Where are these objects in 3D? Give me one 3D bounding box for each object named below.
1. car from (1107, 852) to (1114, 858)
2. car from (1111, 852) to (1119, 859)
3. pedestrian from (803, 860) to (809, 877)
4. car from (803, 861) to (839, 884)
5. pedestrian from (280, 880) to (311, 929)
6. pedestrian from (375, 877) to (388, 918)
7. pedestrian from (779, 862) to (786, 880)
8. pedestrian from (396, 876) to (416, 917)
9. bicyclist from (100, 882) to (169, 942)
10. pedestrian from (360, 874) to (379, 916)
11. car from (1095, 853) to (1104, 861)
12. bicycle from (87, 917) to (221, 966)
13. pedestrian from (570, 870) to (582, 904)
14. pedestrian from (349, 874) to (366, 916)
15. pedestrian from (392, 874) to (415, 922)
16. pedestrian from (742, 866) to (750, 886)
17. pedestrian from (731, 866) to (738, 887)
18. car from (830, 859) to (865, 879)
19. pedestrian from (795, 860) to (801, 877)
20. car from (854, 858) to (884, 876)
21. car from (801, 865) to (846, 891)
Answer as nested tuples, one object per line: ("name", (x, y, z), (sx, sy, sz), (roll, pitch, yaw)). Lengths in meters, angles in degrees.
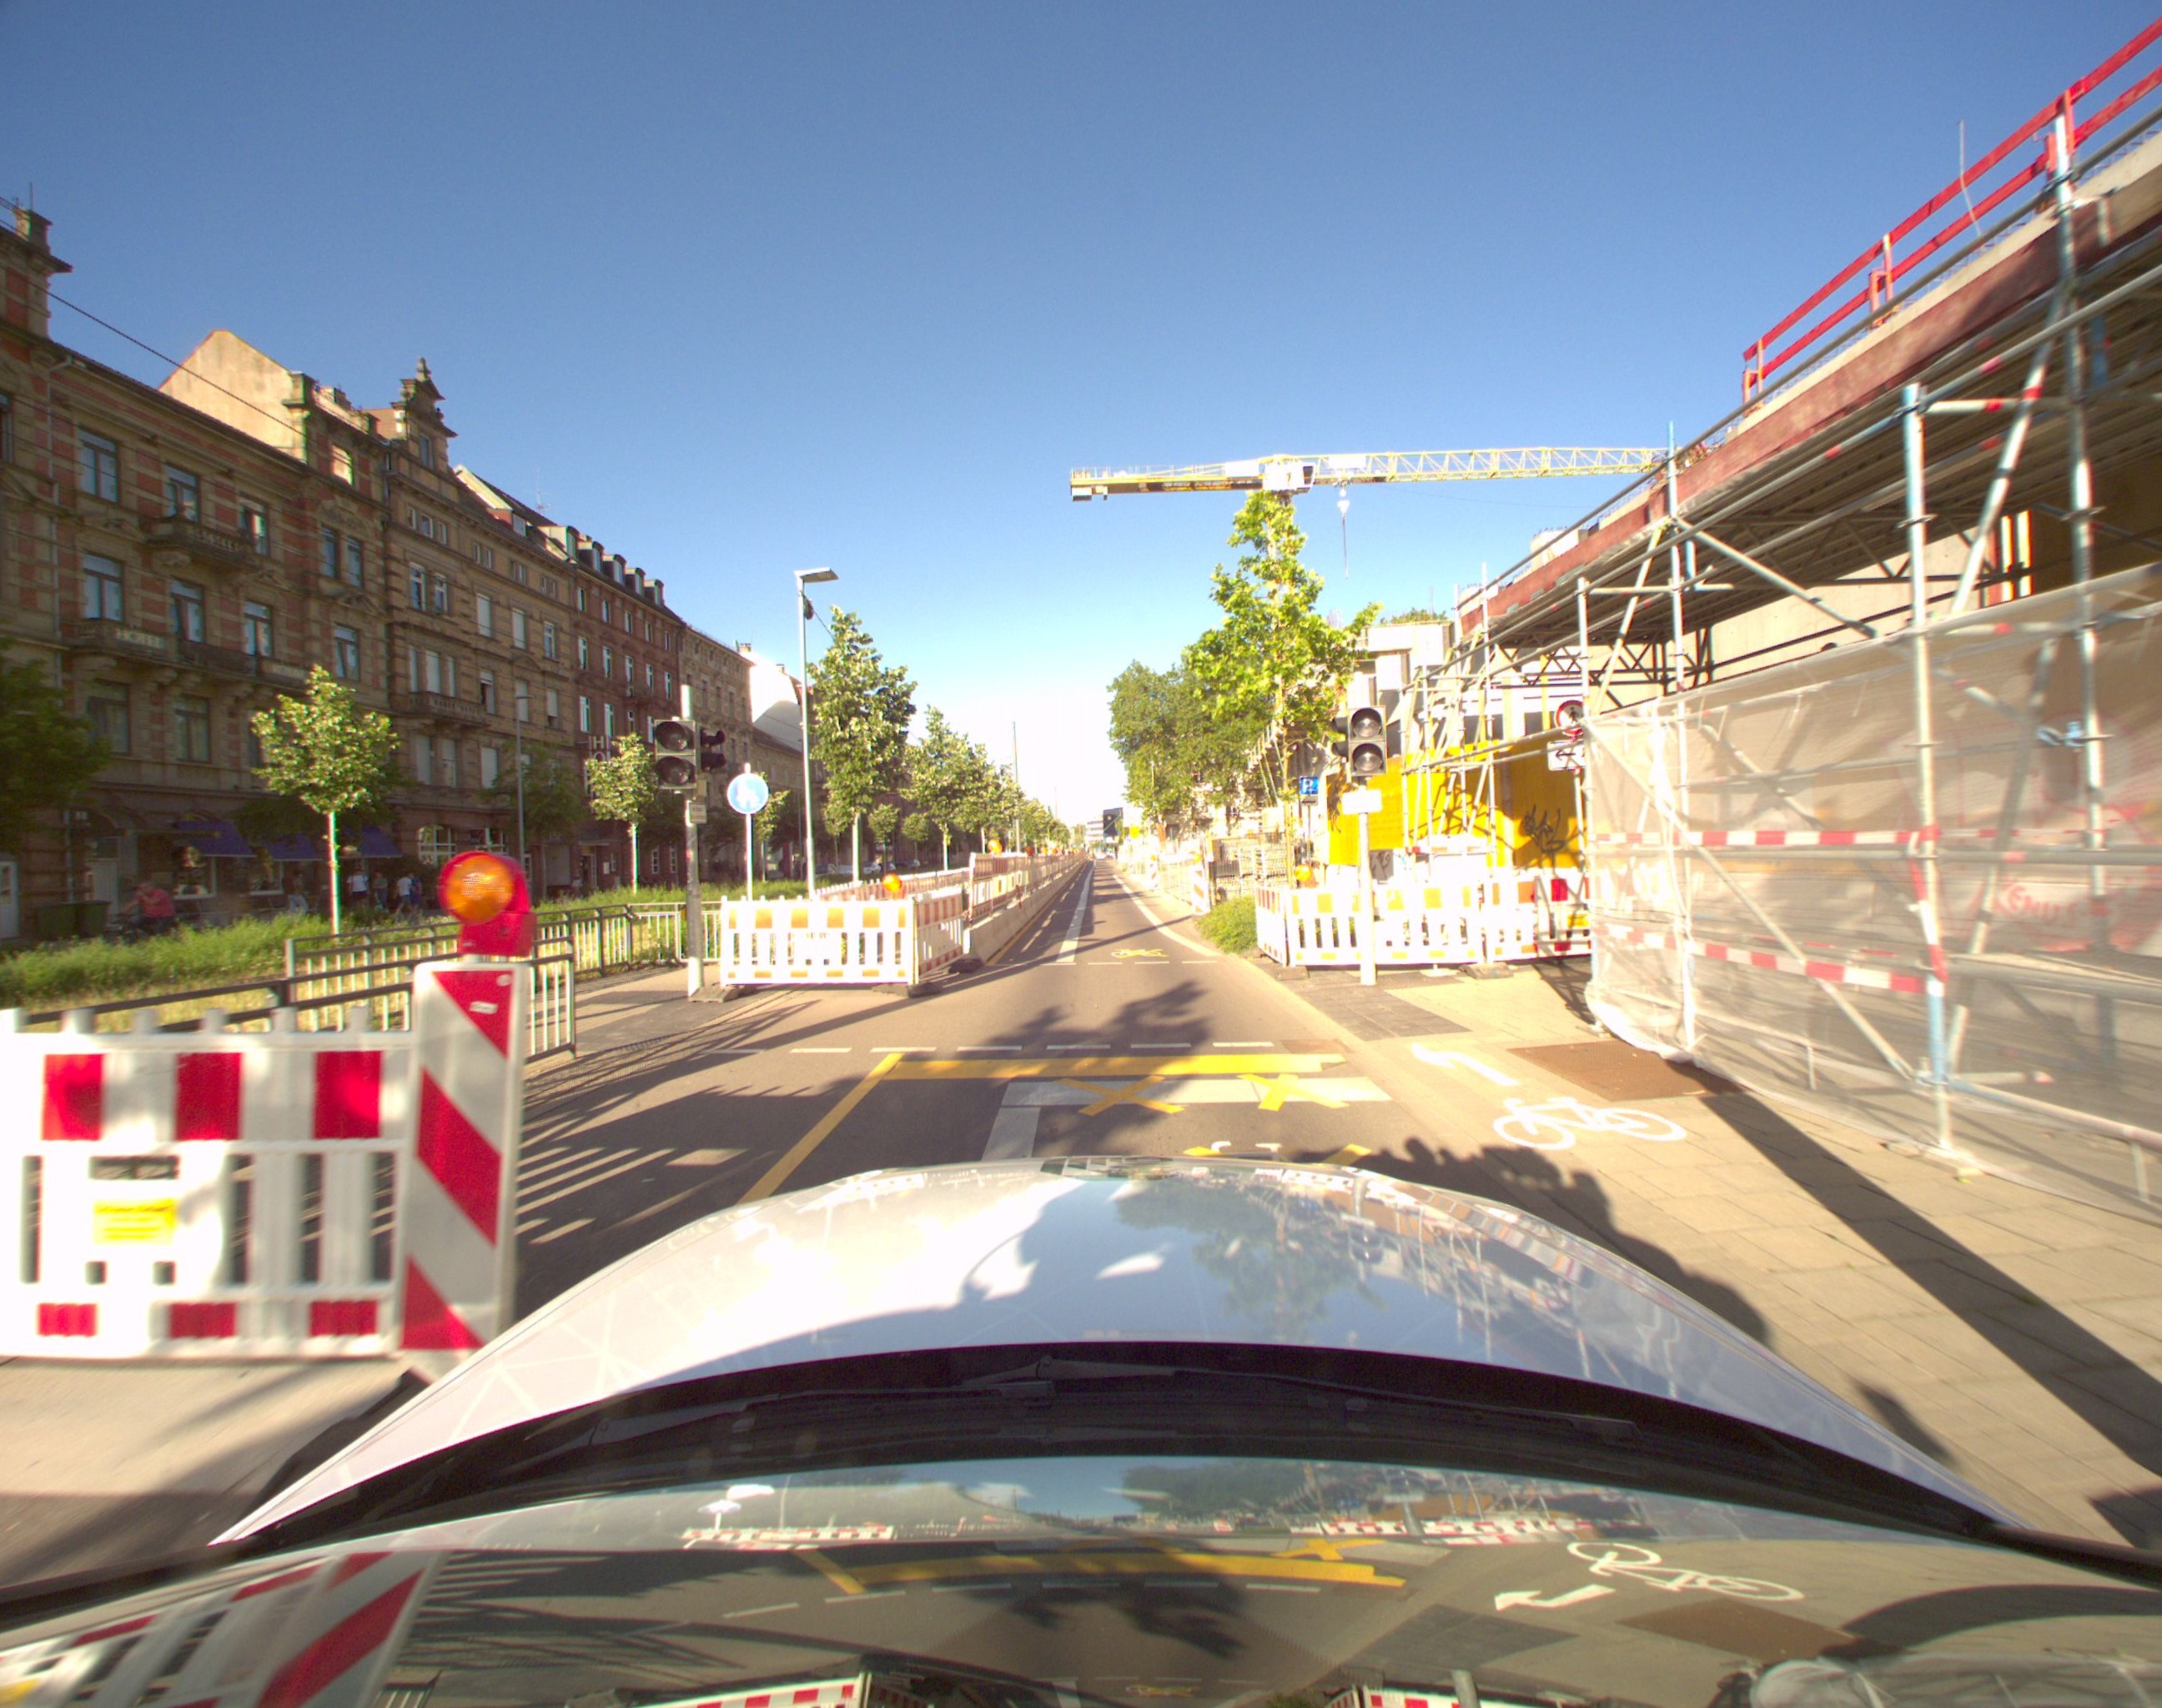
("car", (9.358, 0.308, 257.059), (1.876, 1.842, 3.668), (-2, 0, 1))
("car", (9.032, 0.450, 215.931), (1.876, 1.842, 3.668), (-2, 0, 1))
("pedestrian", (-24.902, 1.315, 73.727), (0.403, 1.532, 0.435), (0, -1, 1))
("car", (-20.764, 1.469, 65.195), (1.561, 1.675, 3.810), (-2, 0, 1))
("pedestrian", (-25.781, 1.640, 26.719), (0.485, 1.585, 0.533), (0, 0, 1))
("pedestrian", (-27.367, 1.688, 31.855), (0.370, 1.585, 0.401), (0, -1, -38))
("pedestrian", (-26.455, 1.499, 72.224), (0.460, 1.585, 0.434), (0, -1, -6))
("pedestrian", (-26.410, 1.673, 31.848), (0.402, 1.585, 0.426), (0, -1, 1))
("bicyclist", (-21.020, 1.275, 18.100), (0.635, 1.239, 0.739), (-2, 0, 2))
("pedestrian", (-27.609, 1.589, 31.597), (0.486, 1.585, 0.477), (0, -1, -36))
("car", (4.354, 0.753, 192.057), (1.876, 1.842, 3.668), (-2, 0, 1))
("bicycle", (-20.979, 1.955, 18.501), (0.634, 0.857, 2.032), (-2, 0, 2))
("pedestrian", (-26.405, 1.708, 42.557), (0.365, 1.765, 0.406), (0, -1, 1))
("pedestrian", (-27.775, 1.559, 31.276), (0.381, 1.585, 0.393), (0, -1, 32))
("pedestrian", (-25.184, 1.619, 30.272), (0.506, 1.765, 0.406), (0, -1, 1))
("pedestrian", (-25.781, 1.691, 62.646), (0.427, 1.585, 0.339), (0, -1, 2))
("pedestrian", (-26.591, 1.702, 62.512), (0.432, 1.585, 0.385), (0, -1, -2))
("car", (-20.743, 1.289, 72.568), (1.561, 1.562, 4.716), (-2, 0, 1))
("pedestrian", (-25.707, 1.336, 73.912), (0.403, 1.534, 0.435), (0, -1, 1))
("car", (-20.487, 1.224, 78.939), (1.561, 1.562, 4.715), (-2, 0, 1))
("car", (-16.849, 1.546, 53.475), (1.588, 1.483, 3.626), (-2, 0, 3))
